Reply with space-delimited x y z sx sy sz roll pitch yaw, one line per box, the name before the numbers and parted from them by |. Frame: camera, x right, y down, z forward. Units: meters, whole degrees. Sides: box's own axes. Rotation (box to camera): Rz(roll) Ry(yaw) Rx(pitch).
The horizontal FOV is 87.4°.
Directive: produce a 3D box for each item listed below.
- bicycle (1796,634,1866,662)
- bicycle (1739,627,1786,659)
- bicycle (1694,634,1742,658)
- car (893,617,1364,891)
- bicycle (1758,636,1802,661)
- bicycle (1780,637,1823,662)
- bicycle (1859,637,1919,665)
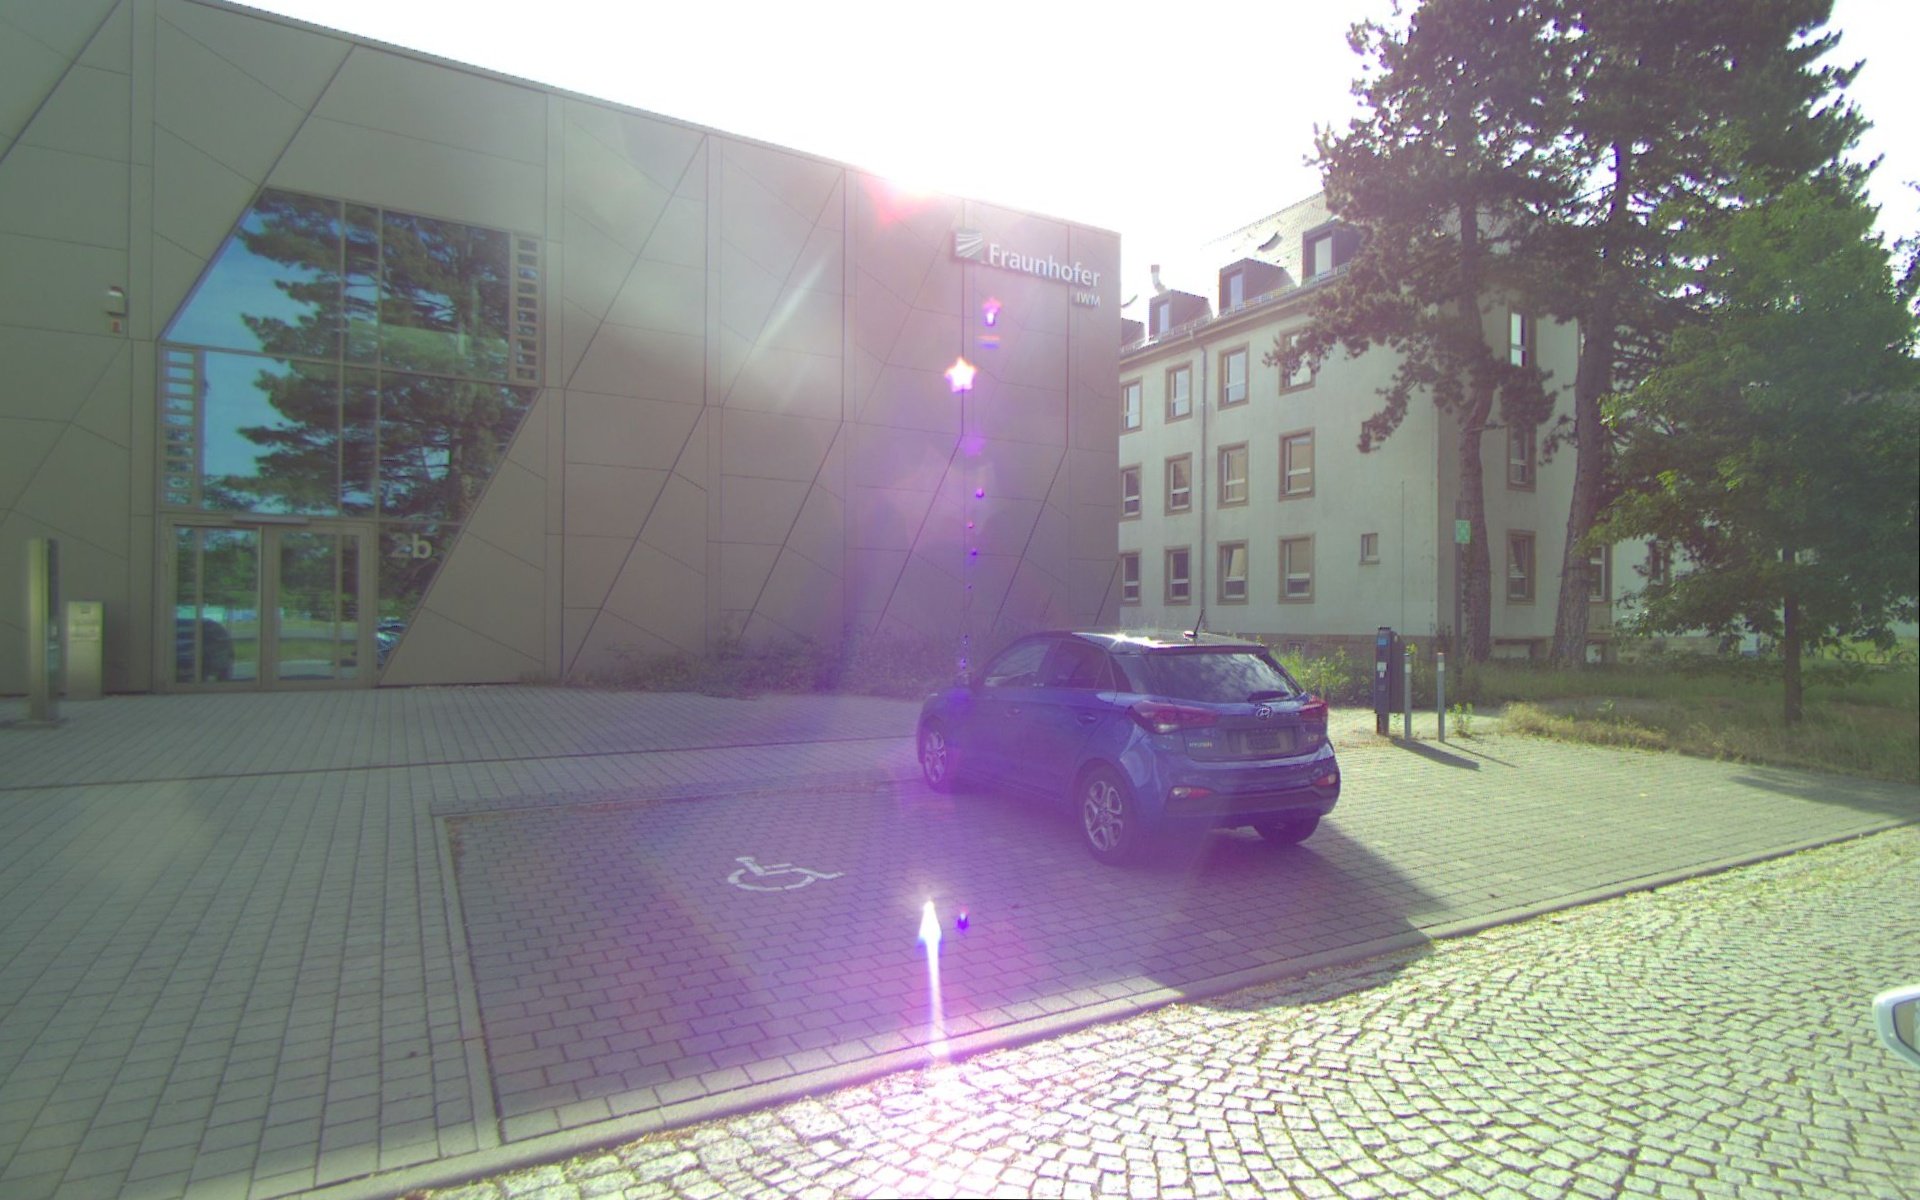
bicycle | 36.840 2.034 42.508 0.819 1.123 2.105 1 -1 -32
bicycle | 36.702 1.962 45.926 2.524 1.456 0.822 1 -1 -30
bicycle | 35.636 2.153 47.236 2.524 1.061 0.896 1 -1 -30
car | 1.031 0.948 7.952 1.698 1.483 3.820 1 0 -28
bicycle | 36.790 2.172 45.063 2.099 1.061 0.822 1 -1 -30
bicycle | 37.204 2.180 44.401 2.099 1.061 0.822 1 -1 -30
bicycle | 37.944 2.051 40.701 0.819 1.061 2.105 1 -1 -32
